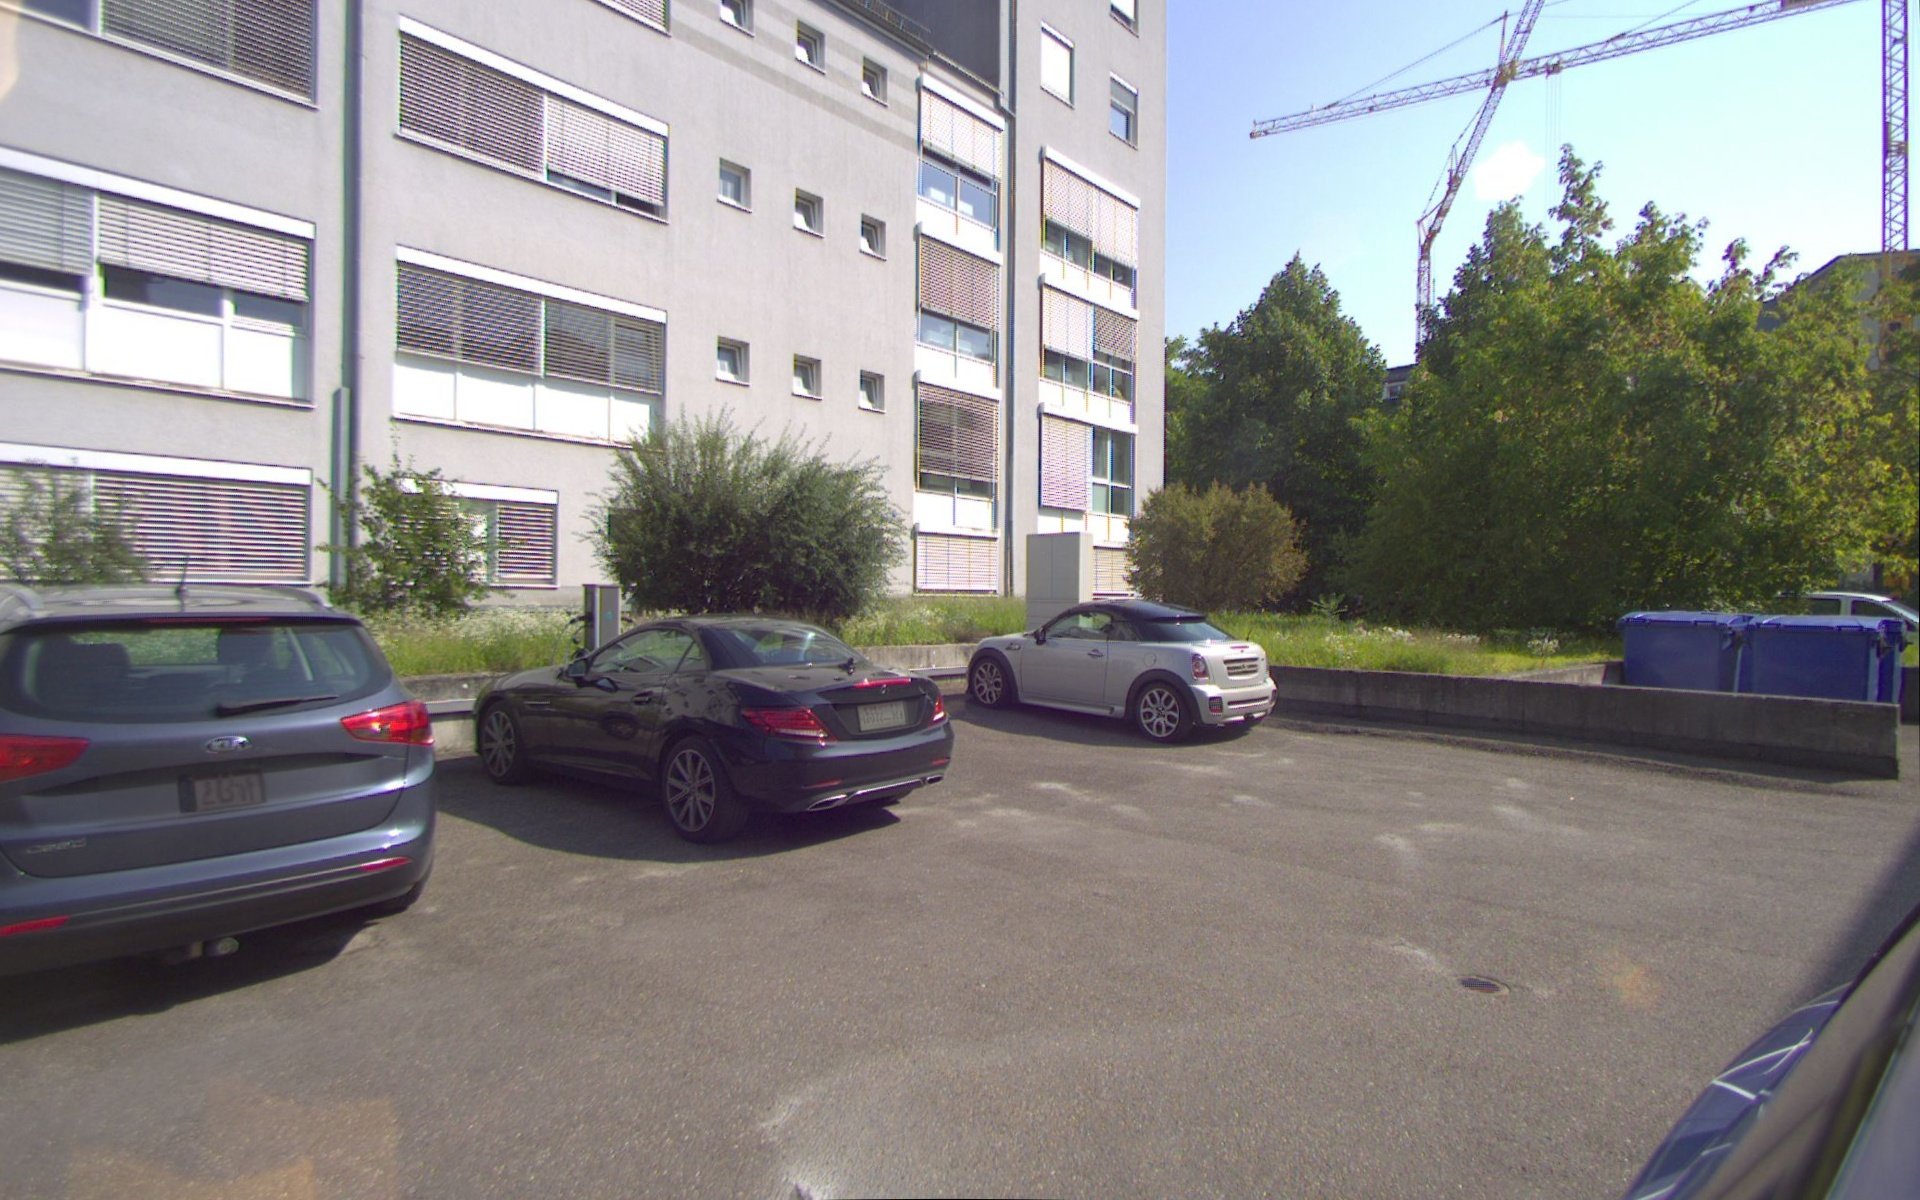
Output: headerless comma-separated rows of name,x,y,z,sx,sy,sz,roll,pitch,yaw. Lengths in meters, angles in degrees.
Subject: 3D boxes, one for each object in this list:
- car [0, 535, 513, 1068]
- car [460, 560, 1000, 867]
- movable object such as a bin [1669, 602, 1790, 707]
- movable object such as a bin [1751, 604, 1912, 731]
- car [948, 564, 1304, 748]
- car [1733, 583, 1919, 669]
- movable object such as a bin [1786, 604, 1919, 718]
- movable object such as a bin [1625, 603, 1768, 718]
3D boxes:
car,-3.865,0.595,4.853,3.862,1.609,1.850,0,0,44
car,-1.775,0.580,7.251,3.793,1.609,1.870,0,0,39
movable object such as a bin,10.678,0.716,14.042,1.226,1.357,1.060,0,0,44
movable object such as a bin,10.239,0.742,11.902,1.174,1.357,1.302,0,0,-42
car,1.757,0.479,11.520,1.772,1.563,3.625,0,5,-43
car,21.850,0.575,24.256,2.007,1.945,4.968,-1,0,-39
movable object such as a bin,11.543,0.735,13.027,1.082,1.357,1.310,0,0,-44
movable object such as a bin,9.403,0.728,12.937,1.096,1.357,1.238,0,0,-38
